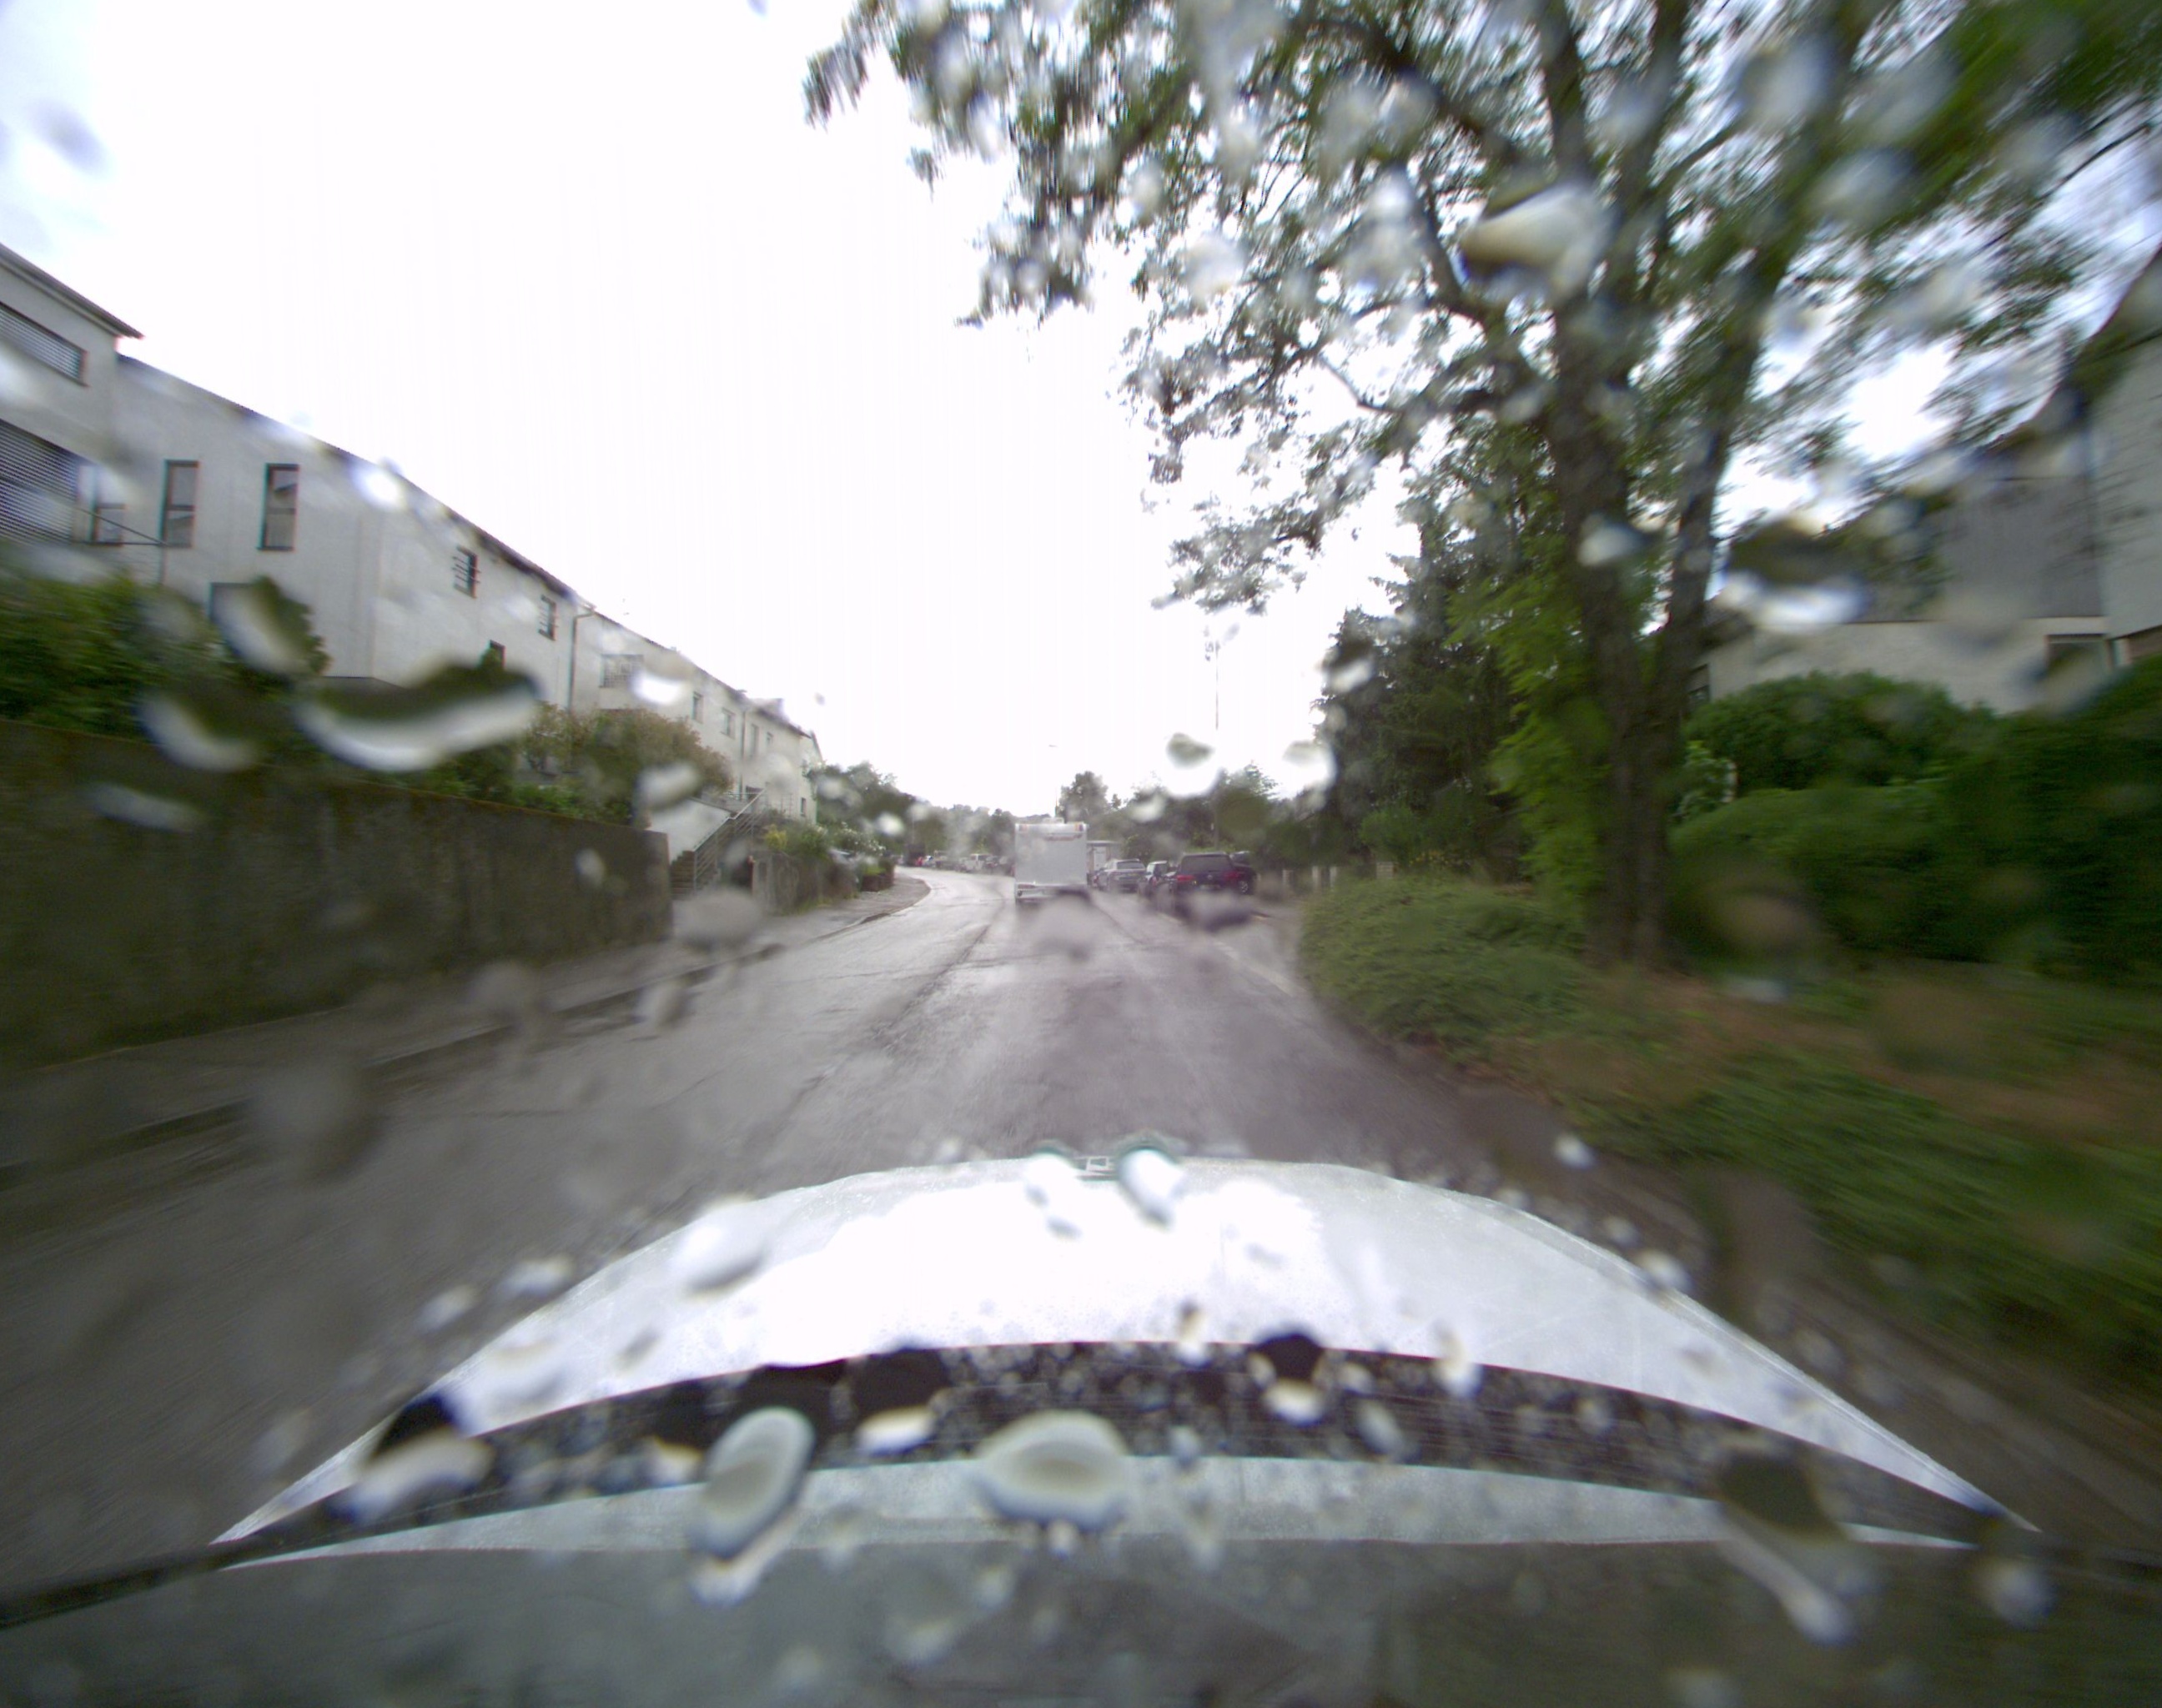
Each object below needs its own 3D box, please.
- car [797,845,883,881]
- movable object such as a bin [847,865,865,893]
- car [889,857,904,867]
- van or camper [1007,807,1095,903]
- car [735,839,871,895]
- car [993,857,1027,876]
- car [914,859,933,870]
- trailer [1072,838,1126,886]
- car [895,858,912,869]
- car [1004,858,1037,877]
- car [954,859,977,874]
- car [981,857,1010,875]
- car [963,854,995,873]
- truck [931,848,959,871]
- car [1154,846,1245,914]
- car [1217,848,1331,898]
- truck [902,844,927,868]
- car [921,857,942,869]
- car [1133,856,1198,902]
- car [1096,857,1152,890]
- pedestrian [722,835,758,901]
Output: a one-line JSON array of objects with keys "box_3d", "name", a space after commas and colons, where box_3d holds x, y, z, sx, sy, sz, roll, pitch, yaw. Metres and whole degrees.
[{"box_3d": [-13.817, 0.533, 46.894, 4.239, 1.432, 1.765, 9, -2, -1], "name": "car"}, {"box_3d": [-9.413, 1.033, 34.063, 0.537, 1.076, 0.741, 6, -1, -8], "name": "movable object such as a bin"}, {"box_3d": [-30.266, 1.271, 133.585, 1.942, 1.672, 4.664, 0, 0, -19], "name": "car"}, {"box_3d": [-1.139, 0.155, 27.861, 2.611, 2.853, 6.020, 1, -2, -5], "name": "van or camper"}, {"box_3d": [-10.708, 0.508, 31.645, 4.504, 1.614, 1.928, 6, -2, -6], "name": "car"}, {"box_3d": [-6.114, 1.065, 69.713, 1.822, 1.506, 4.693, 0, -1, -19], "name": "car"}, {"box_3d": [-21.645, 1.491, 111.786, 1.839, 1.438, 4.951, 0, -1, -21], "name": "car"}, {"box_3d": [0.892, 0.428, 43.733, 1.949, 2.457, 5.416, 0, -1, -9], "name": "trailer"}, {"box_3d": [-27.661, 1.477, 126.705, 1.852, 1.683, 5.599, 0, -1, -20], "name": "car"}, {"box_3d": [-4.821, 1.077, 64.811, 1.740, 1.414, 3.828, 0, -1, -18], "name": "car"}, {"box_3d": [-12.193, 1.279, 85.724, 1.653, 1.563, 3.937, 0, -1, -19], "name": "car"}, {"box_3d": [-7.916, 1.097, 75.169, 1.650, 1.541, 4.325, 0, -1, -19], "name": "car"}, {"box_3d": [-10.154, 0.941, 80.699, 1.857, 1.882, 4.873, 0, -1, -23], "name": "car"}, {"box_3d": [-16.418, 0.713, 97.730, 2.246, 2.631, 6.495, 0, -1, -19], "name": "truck"}, {"box_3d": [3.168, 0.670, 22.578, 1.824, 1.701, 4.459, 0, -1, -1], "name": "car"}, {"box_3d": [7.609, 0.736, 32.290, 3.993, 1.688, 1.776, 4, -1, -2], "name": "car"}, {"box_3d": [-24.275, 0.375, 118.435, 2.445, 3.335, 7.909, 0, -1, -20], "name": "truck"}, {"box_3d": [-19.125, 1.154, 103.983, 1.766, 1.604, 4.633, 0, -1, -21], "name": "car"}, {"box_3d": [2.824, 0.826, 28.029, 1.630, 1.457, 3.695, 0, -1, -4], "name": "car"}, {"box_3d": [1.888, 0.875, 37.469, 1.746, 1.424, 4.691, 0, -1, -8], "name": "car"}, {"box_3d": [-8.638, 0.343, 20.657, 0.656, 1.649, 0.730, 1, 0, -9], "name": "pedestrian"}]
